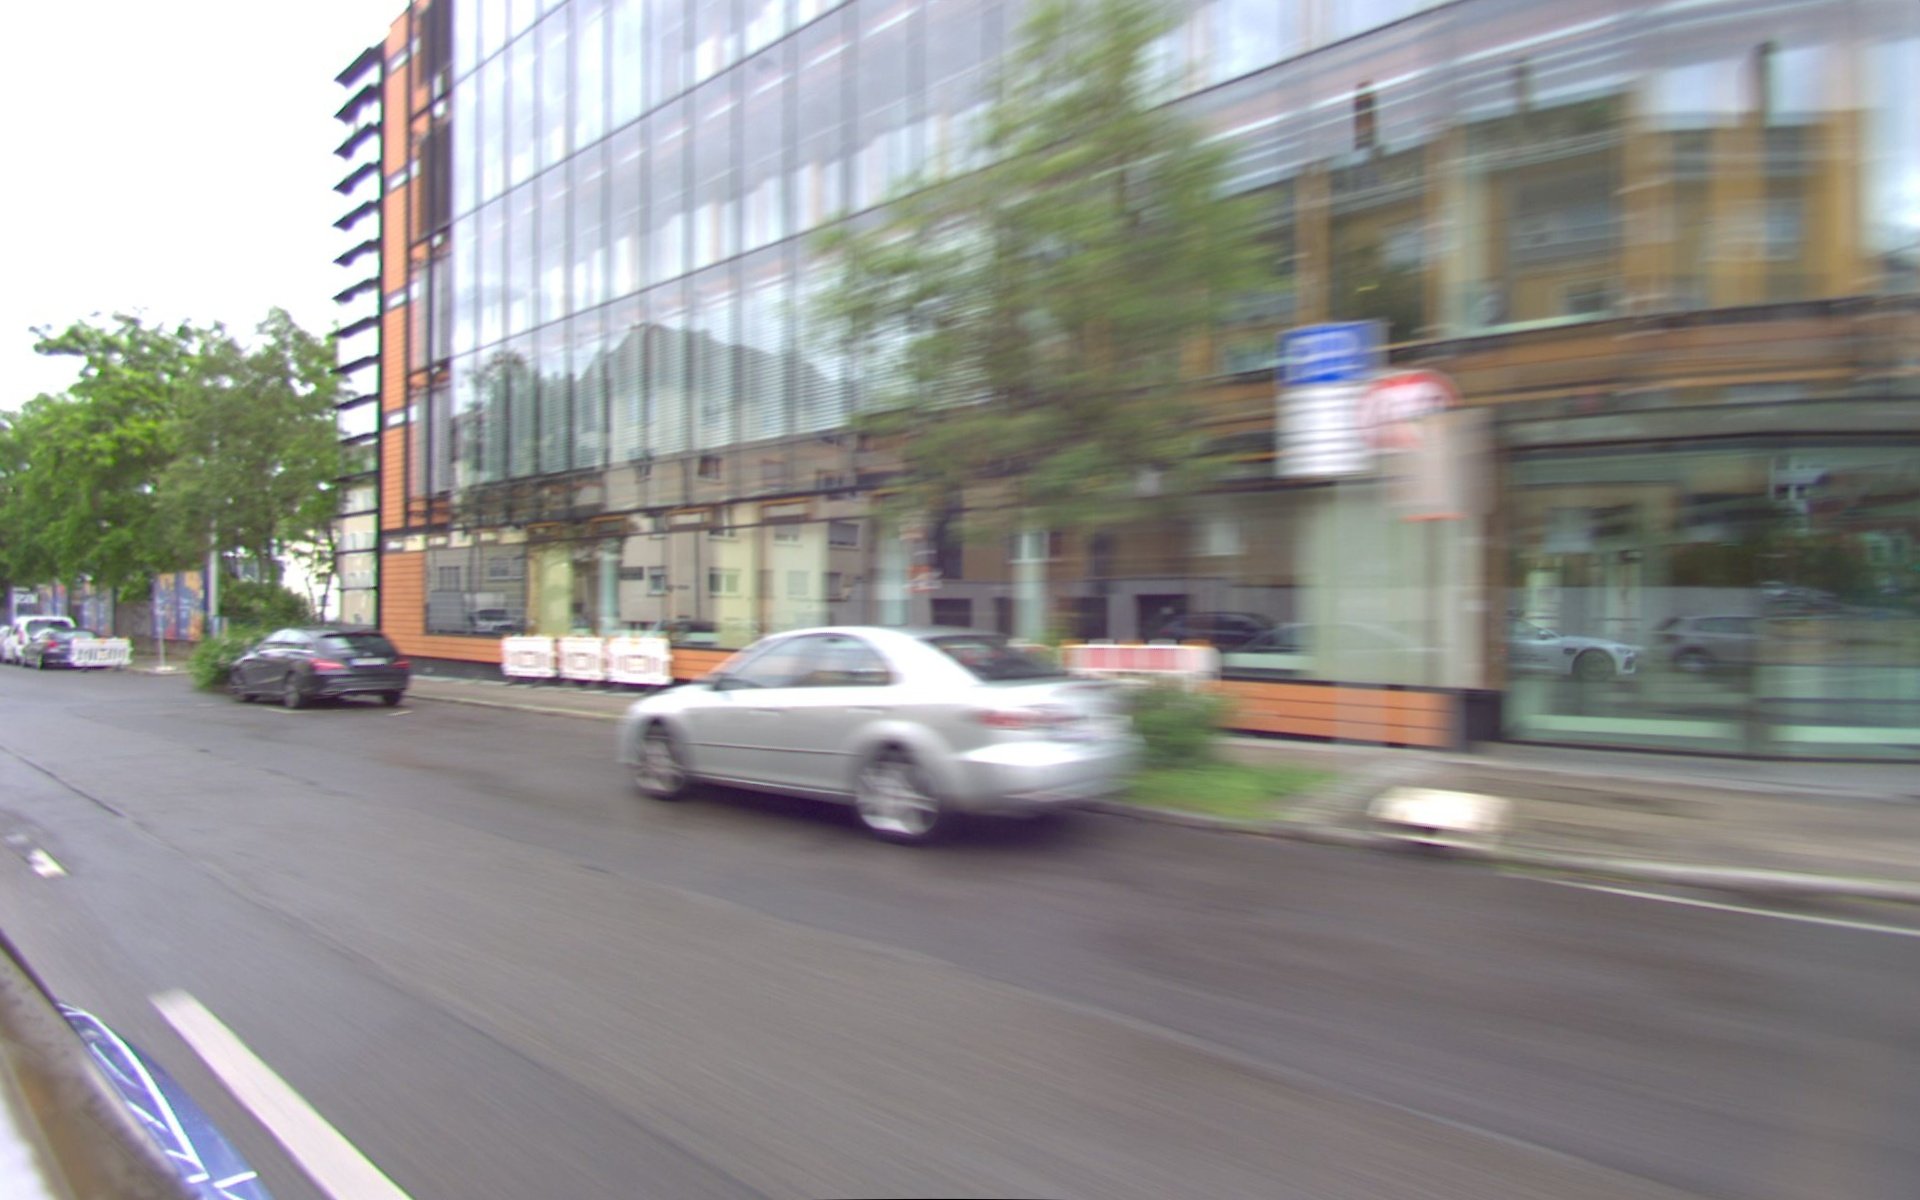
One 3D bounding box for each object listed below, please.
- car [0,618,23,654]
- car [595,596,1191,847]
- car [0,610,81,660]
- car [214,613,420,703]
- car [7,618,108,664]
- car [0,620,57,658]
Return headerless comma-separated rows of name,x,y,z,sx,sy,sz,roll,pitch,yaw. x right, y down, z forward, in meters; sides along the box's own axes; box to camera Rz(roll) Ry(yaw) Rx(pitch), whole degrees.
car,-43.094,1.561,44.784,3.513,1.476,1.858,1,0,38
car,-0.744,0.727,7.860,4.640,1.405,1.839,-1,-2,40
car,-34.452,1.259,37.659,3.994,1.722,1.858,1,0,38
car,-11.848,1.006,18.558,4.322,1.475,1.707,-1,-2,36
car,-30.590,1.346,34.268,3.994,1.408,1.858,1,0,38
car,-38.041,1.525,40.724,3.825,1.363,1.858,1,0,38
